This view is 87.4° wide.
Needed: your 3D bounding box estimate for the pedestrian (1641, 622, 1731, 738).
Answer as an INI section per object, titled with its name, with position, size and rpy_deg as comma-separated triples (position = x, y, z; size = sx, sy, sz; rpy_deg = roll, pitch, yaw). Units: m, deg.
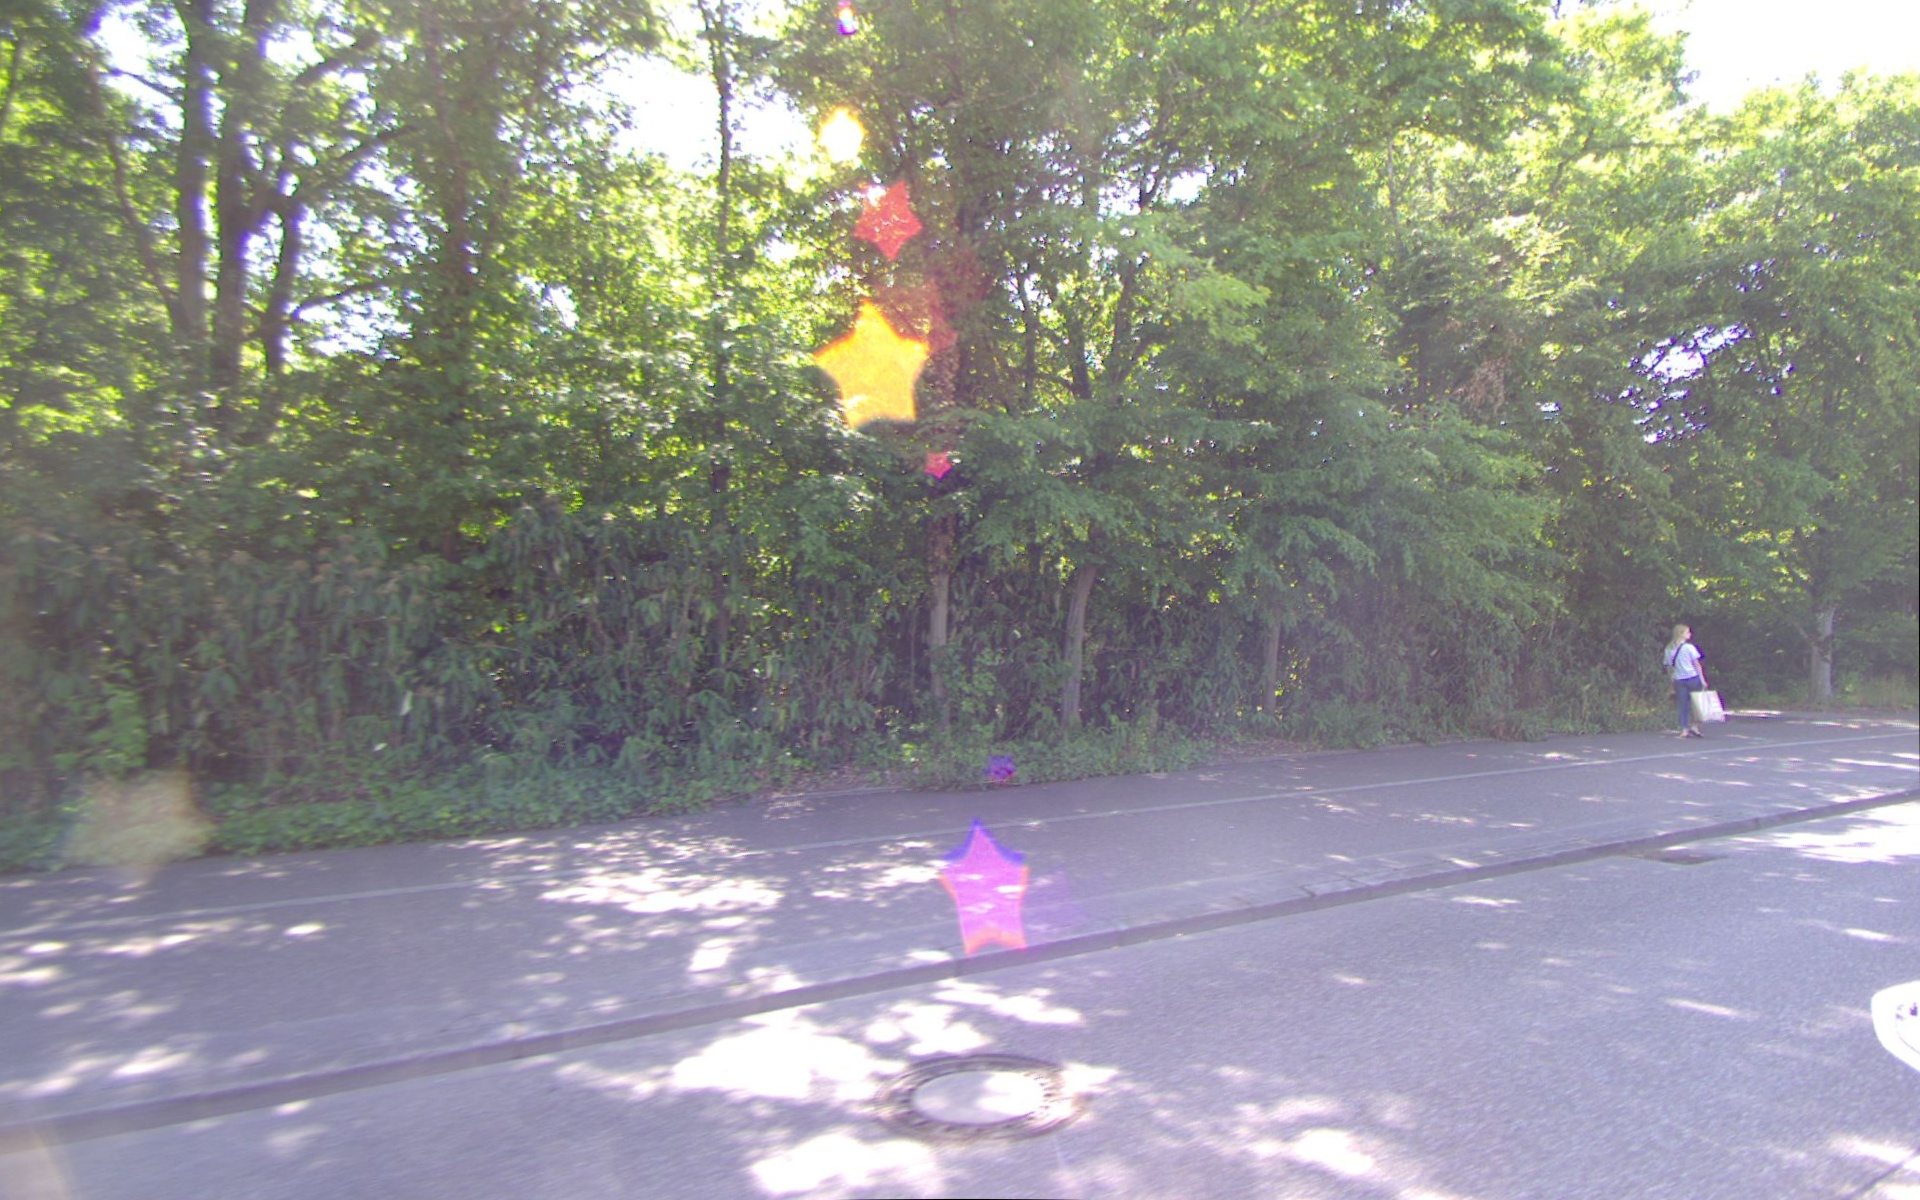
[pedestrian]
position = 10.687, 1.144, 14.797
size = 0.774, 1.644, 0.824
rpy_deg = 1, -1, -30
